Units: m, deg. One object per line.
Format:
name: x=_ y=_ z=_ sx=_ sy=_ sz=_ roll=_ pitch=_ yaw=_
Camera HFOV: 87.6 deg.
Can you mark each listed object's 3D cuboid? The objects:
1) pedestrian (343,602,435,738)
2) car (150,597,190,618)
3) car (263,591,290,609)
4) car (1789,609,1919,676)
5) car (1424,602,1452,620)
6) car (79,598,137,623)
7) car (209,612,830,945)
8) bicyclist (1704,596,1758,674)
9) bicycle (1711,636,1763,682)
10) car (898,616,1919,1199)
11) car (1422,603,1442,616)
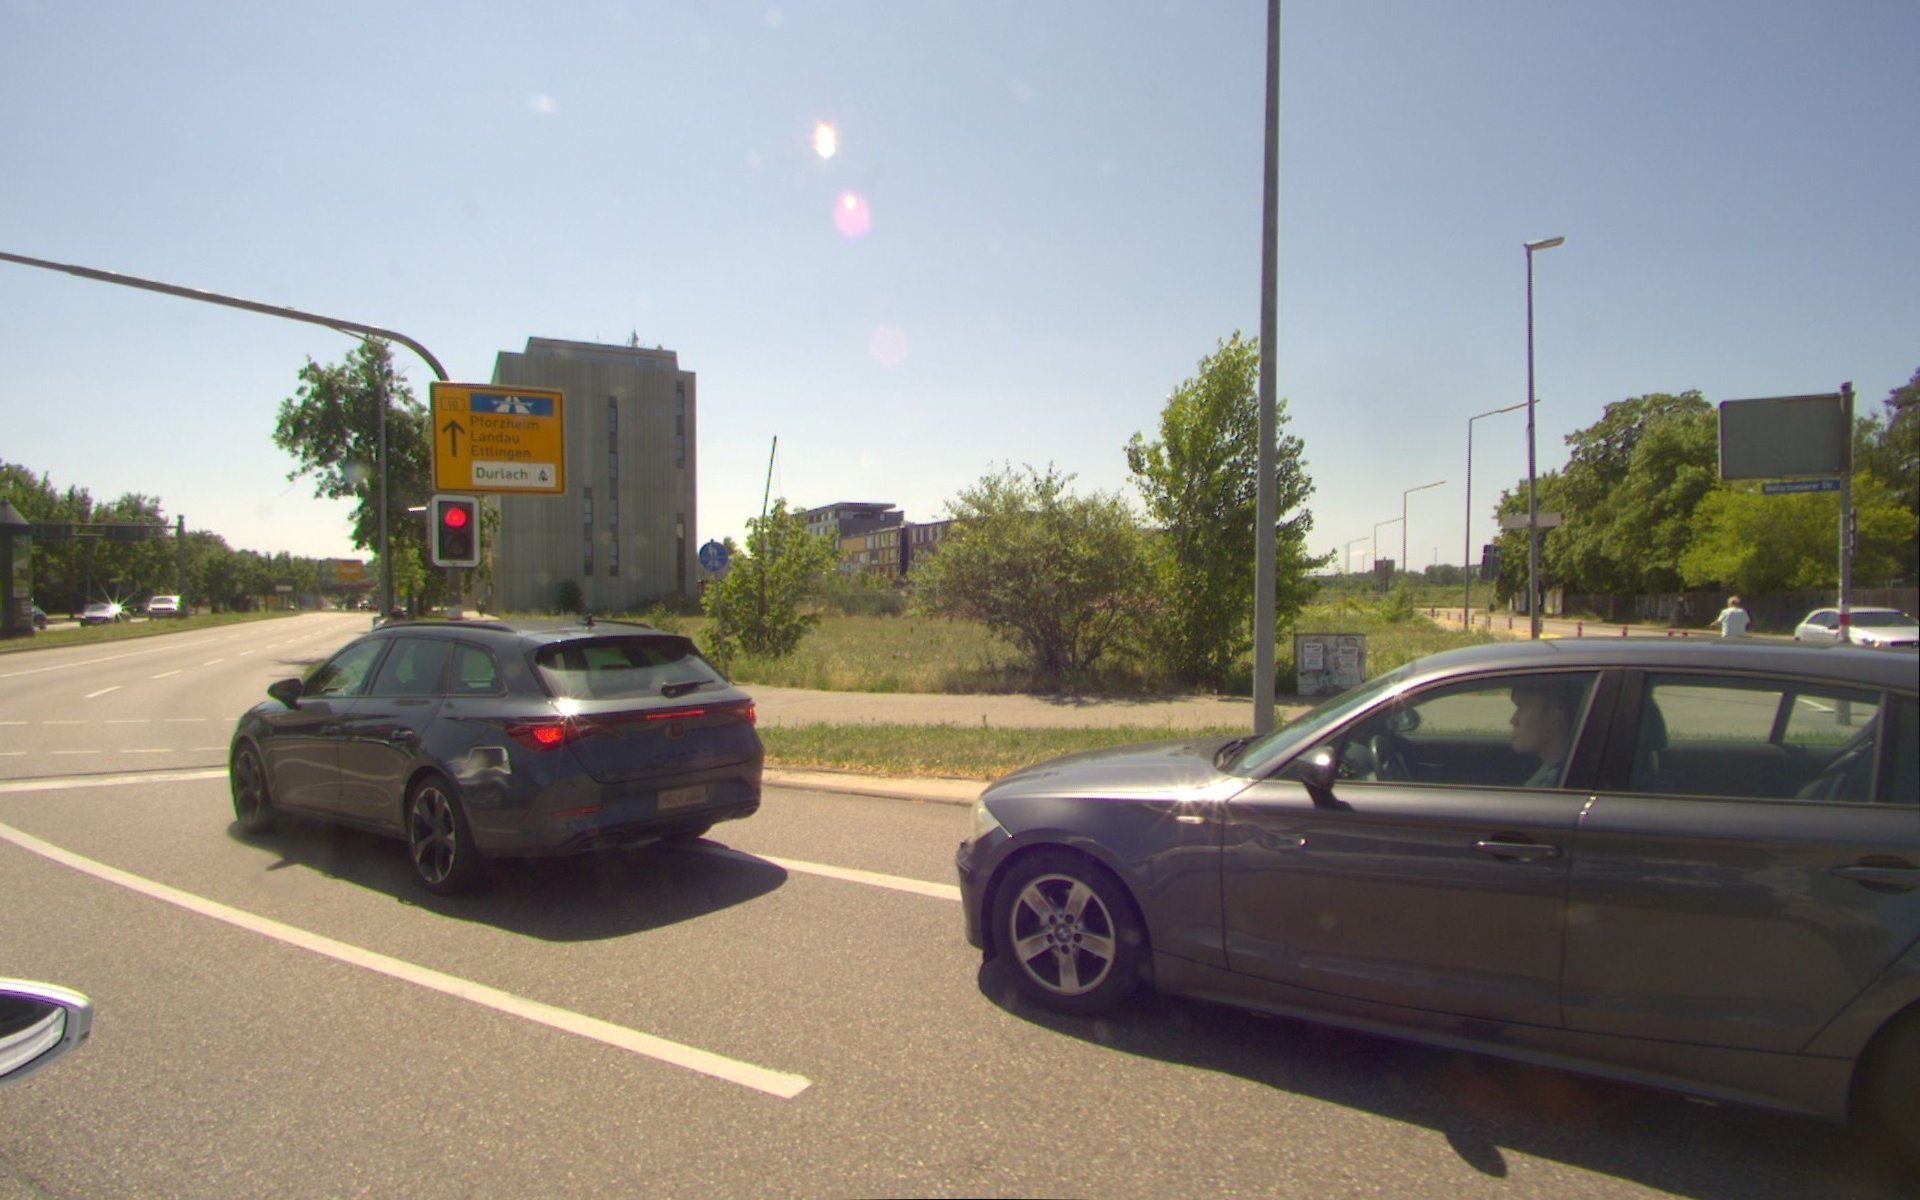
pedestrian: x=-7.388 y=0.876 z=13.000 sx=0.942 sy=1.659 sz=0.754 roll=-2 pitch=1 yaw=-27
car: x=-61.873 y=0.558 z=78.480 sx=1.841 sy=1.575 sz=3.980 roll=0 pitch=0 yaw=-29
car: x=-72.381 y=0.012 z=106.061 sx=1.779 sy=1.714 sz=4.124 roll=-2 pitch=0 yaw=-27
car: x=21.843 y=0.960 z=23.932 sx=1.831 sy=1.447 sz=3.992 roll=-1 pitch=0 yaw=19
car: x=43.136 y=0.979 z=90.405 sx=1.728 sy=1.565 sz=3.688 roll=0 pitch=0 yaw=17
car: x=-53.051 y=0.624 z=62.434 sx=1.947 sy=1.507 sz=3.981 roll=0 pitch=0 yaw=-28
car: x=-3.103 y=0.823 z=6.639 sx=4.400 sy=1.437 sz=1.985 roll=0 pitch=0 yaw=39
bicyclist: x=17.001 y=0.747 z=22.077 sx=1.151 sy=1.662 sz=0.741 roll=0 pitch=1 yaw=-43
bicycle: x=17.032 y=1.275 z=21.946 sx=1.857 sy=0.891 sz=0.623 roll=-1 pitch=1 yaw=-43
car: x=1.908 y=0.795 z=3.734 sx=4.022 sy=1.421 sz=1.744 roll=0 pitch=0 yaw=32
car: x=57.764 y=1.183 z=122.619 sx=1.728 sy=1.565 sz=3.688 roll=0 pitch=0 yaw=17
